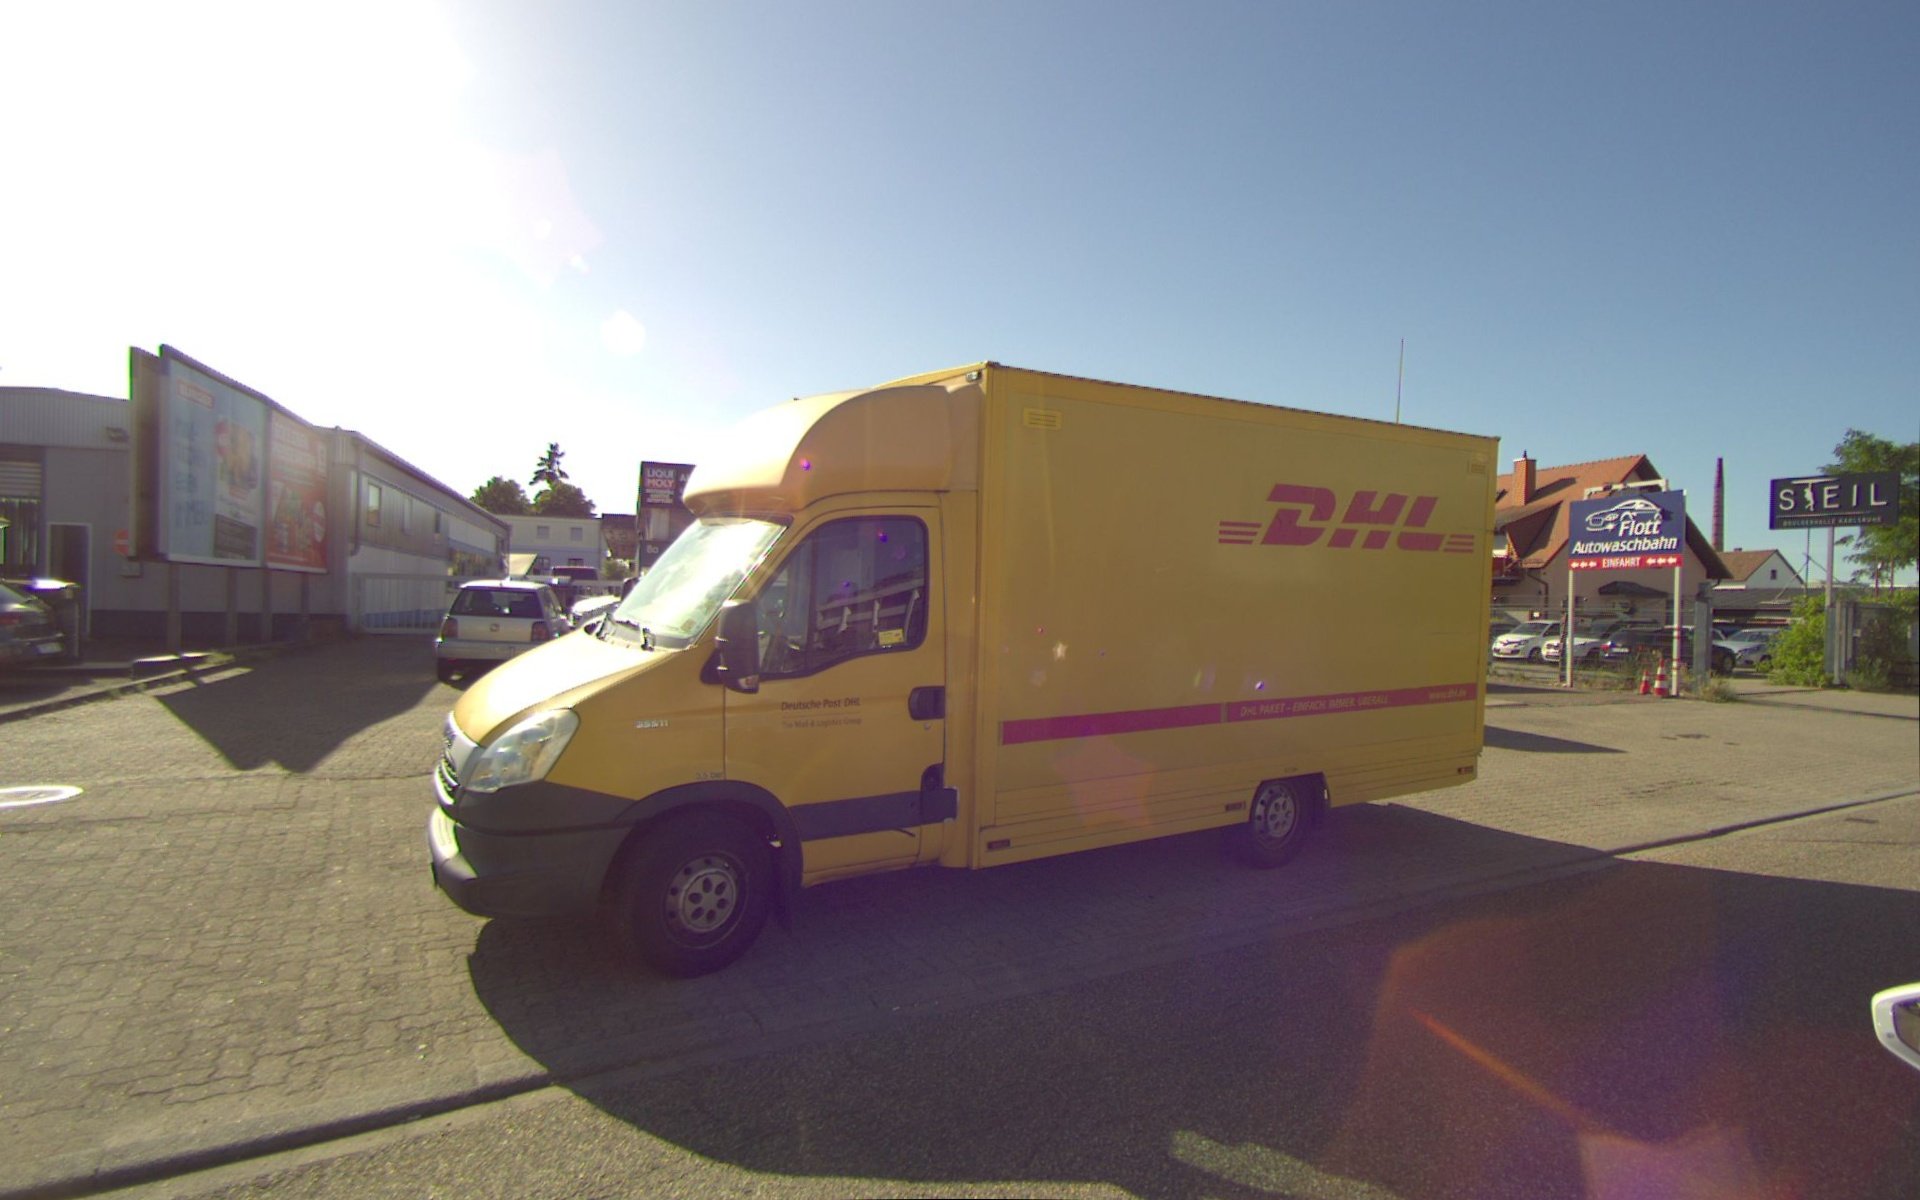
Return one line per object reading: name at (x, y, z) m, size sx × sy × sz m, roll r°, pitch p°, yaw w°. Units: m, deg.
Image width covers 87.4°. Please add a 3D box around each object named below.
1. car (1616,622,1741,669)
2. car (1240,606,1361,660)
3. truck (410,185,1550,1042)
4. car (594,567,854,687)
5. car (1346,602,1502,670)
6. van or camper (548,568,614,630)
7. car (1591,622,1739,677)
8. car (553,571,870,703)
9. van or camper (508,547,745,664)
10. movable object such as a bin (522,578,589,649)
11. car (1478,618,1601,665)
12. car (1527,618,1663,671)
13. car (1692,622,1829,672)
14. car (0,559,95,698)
car at (26.414, 1.672, 36.946) m, size 3.979 × 1.599 × 1.693 m, roll 1°, pitch 0°, yaw -17°
car at (11.749, 1.105, 34.919) m, size 1.818 × 1.680 × 4.083 m, roll 1°, pitch 0°, yaw -20°
truck at (0.621, 0.108, 6.486) m, size 7.166 × 3.023 × 2.389 m, roll 2°, pitch 2°, yaw -32°
car at (-4.087, 0.445, 17.630) m, size 3.965 × 1.840 × 1.978 m, roll 2°, pitch 1°, yaw -38°
car at (13.569, 1.004, 29.627) m, size 1.818 × 1.816 × 4.083 m, roll 1°, pitch 0°, yaw -20°
van or camper at (-12.830, -0.039, 34.177) m, size 1.859 × 1.973 × 3.444 m, roll 1°, pitch 0°, yaw -18°
car at (21.985, 1.519, 31.334) m, size 3.979 × 1.599 × 1.693 m, roll 1°, pitch 0°, yaw -17°
car at (-3.630, 0.437, 14.915) m, size 4.166 × 1.584 × 1.854 m, roll -3°, pitch 2°, yaw -33°
van or camper at (-6.380, 0.119, 19.342) m, size 3.960 × 2.040 × 1.848 m, roll 2°, pitch 1°, yaw -35°
movable object such as a bin at (-8.606, 0.285, 21.414) m, size 1.281 × 1.471 × 0.537 m, roll 1°, pitch 0°, yaw -20°
car at (21.083, 1.516, 36.563) m, size 3.855 × 1.599 × 1.693 m, roll 1°, pitch 0°, yaw -17°
car at (21.411, 1.498, 33.905) m, size 3.979 × 1.683 × 1.693 m, roll 1°, pitch 0°, yaw -17°
car at (27.155, 1.588, 34.097) m, size 3.979 × 1.599 × 1.693 m, roll 1°, pitch 0°, yaw -17°
car at (-12.889, 0.320, 11.431) m, size 4.234 × 1.566 × 1.773 m, roll 0°, pitch 0°, yaw -23°
